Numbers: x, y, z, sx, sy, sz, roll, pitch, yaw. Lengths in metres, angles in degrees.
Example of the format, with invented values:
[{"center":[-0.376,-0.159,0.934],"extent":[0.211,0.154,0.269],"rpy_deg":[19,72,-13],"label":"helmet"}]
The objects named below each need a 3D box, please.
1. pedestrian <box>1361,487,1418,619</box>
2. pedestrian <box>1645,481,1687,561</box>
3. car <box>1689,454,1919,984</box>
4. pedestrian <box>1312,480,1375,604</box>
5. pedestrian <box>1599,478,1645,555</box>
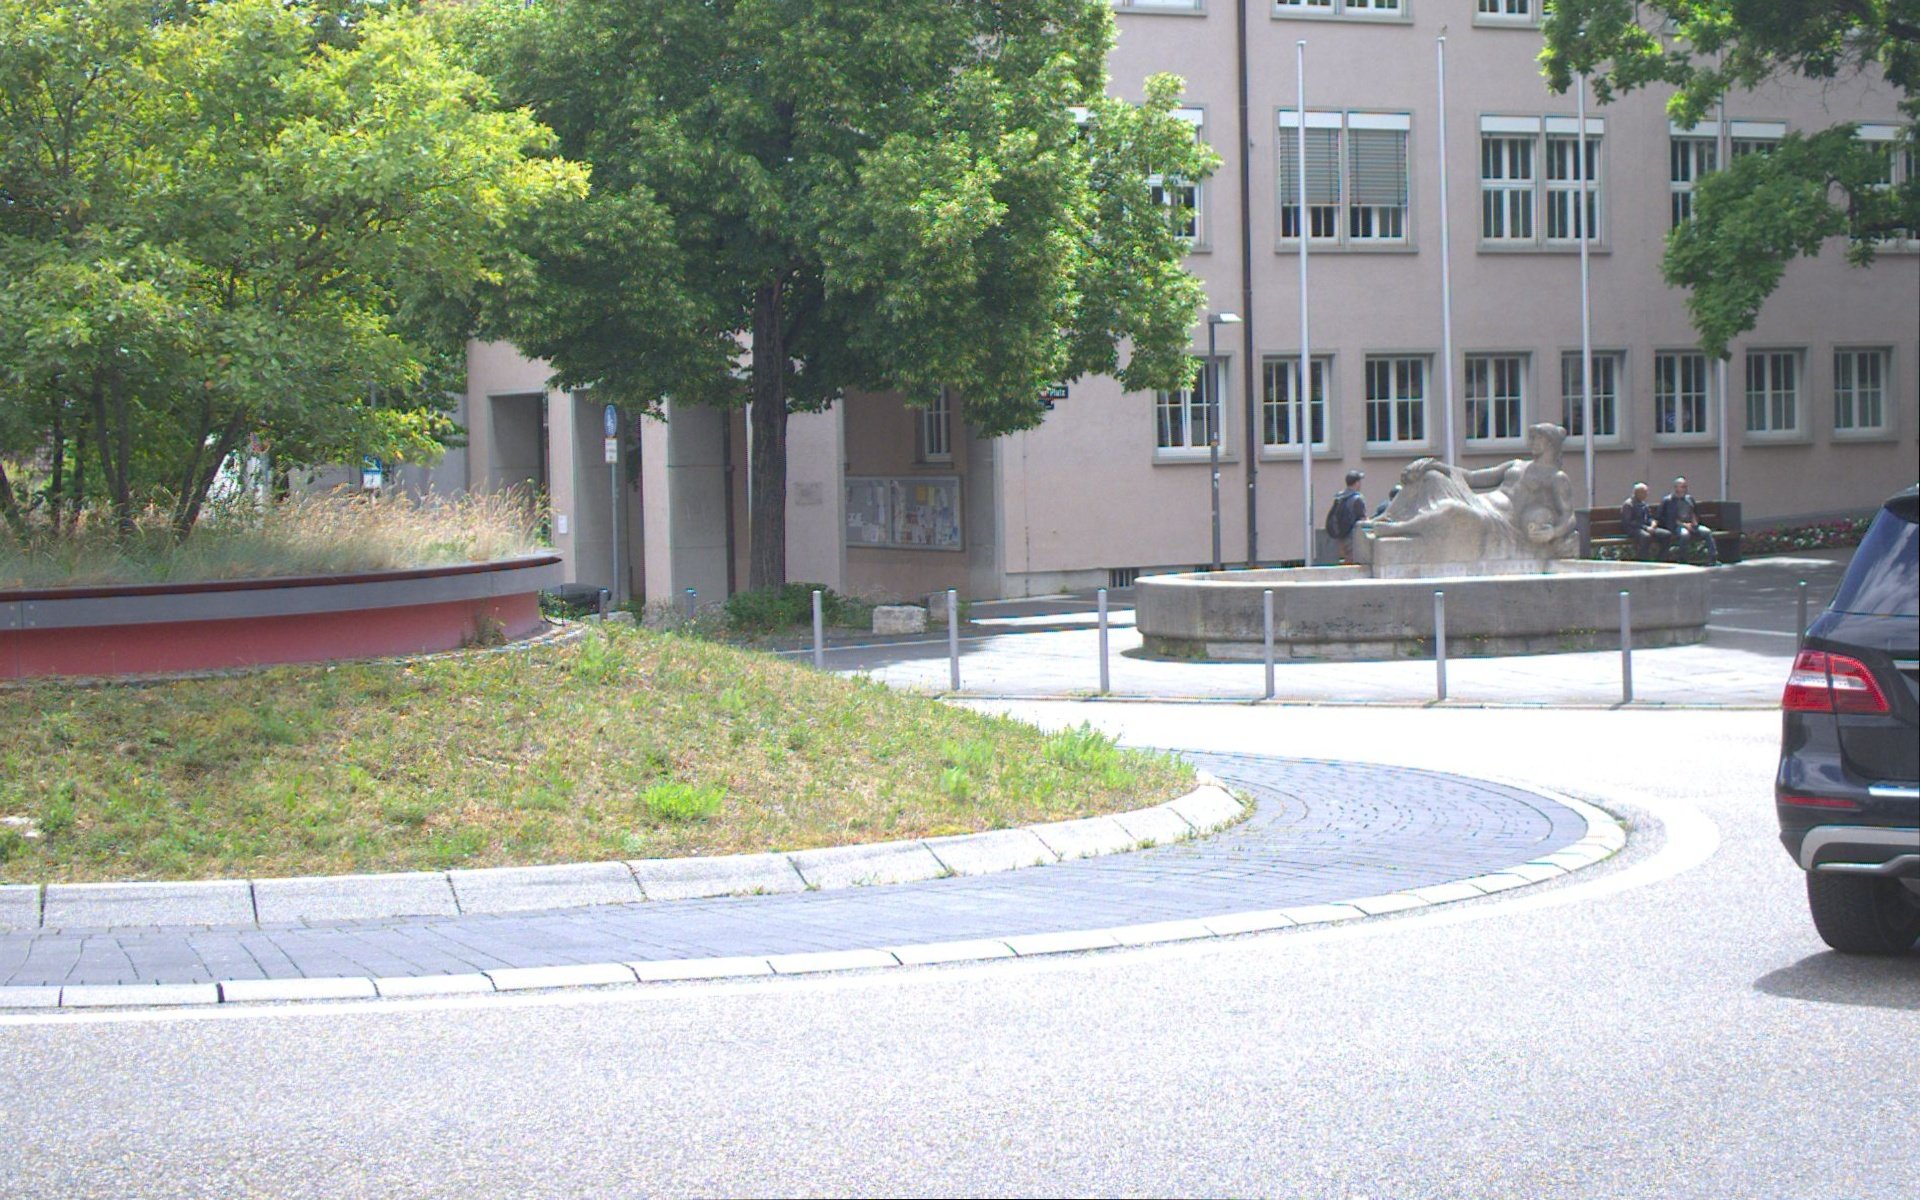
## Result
[{"center":[5.351,-0.589,42.845],"extent":[0.572,1.603,0.438],"rpy_deg":[0,5,-8],"label":"pedestrian"},{"center":[10.472,-1.176,50.973],"extent":[0.487,1.178,0.580],"rpy_deg":[1,1,24],"label":"pedestrian"},{"center":[4.614,0.322,12.785],"extent":[2.032,1.721,4.424],"rpy_deg":[0,2,37],"label":"car"},{"center":[4.847,-0.736,43.466],"extent":[0.636,1.518,0.577],"rpy_deg":[0,5,-8],"label":"pedestrian"},{"center":[9.953,-1.255,51.672],"extent":[0.487,1.158,0.580],"rpy_deg":[1,2,33],"label":"pedestrian"}]
